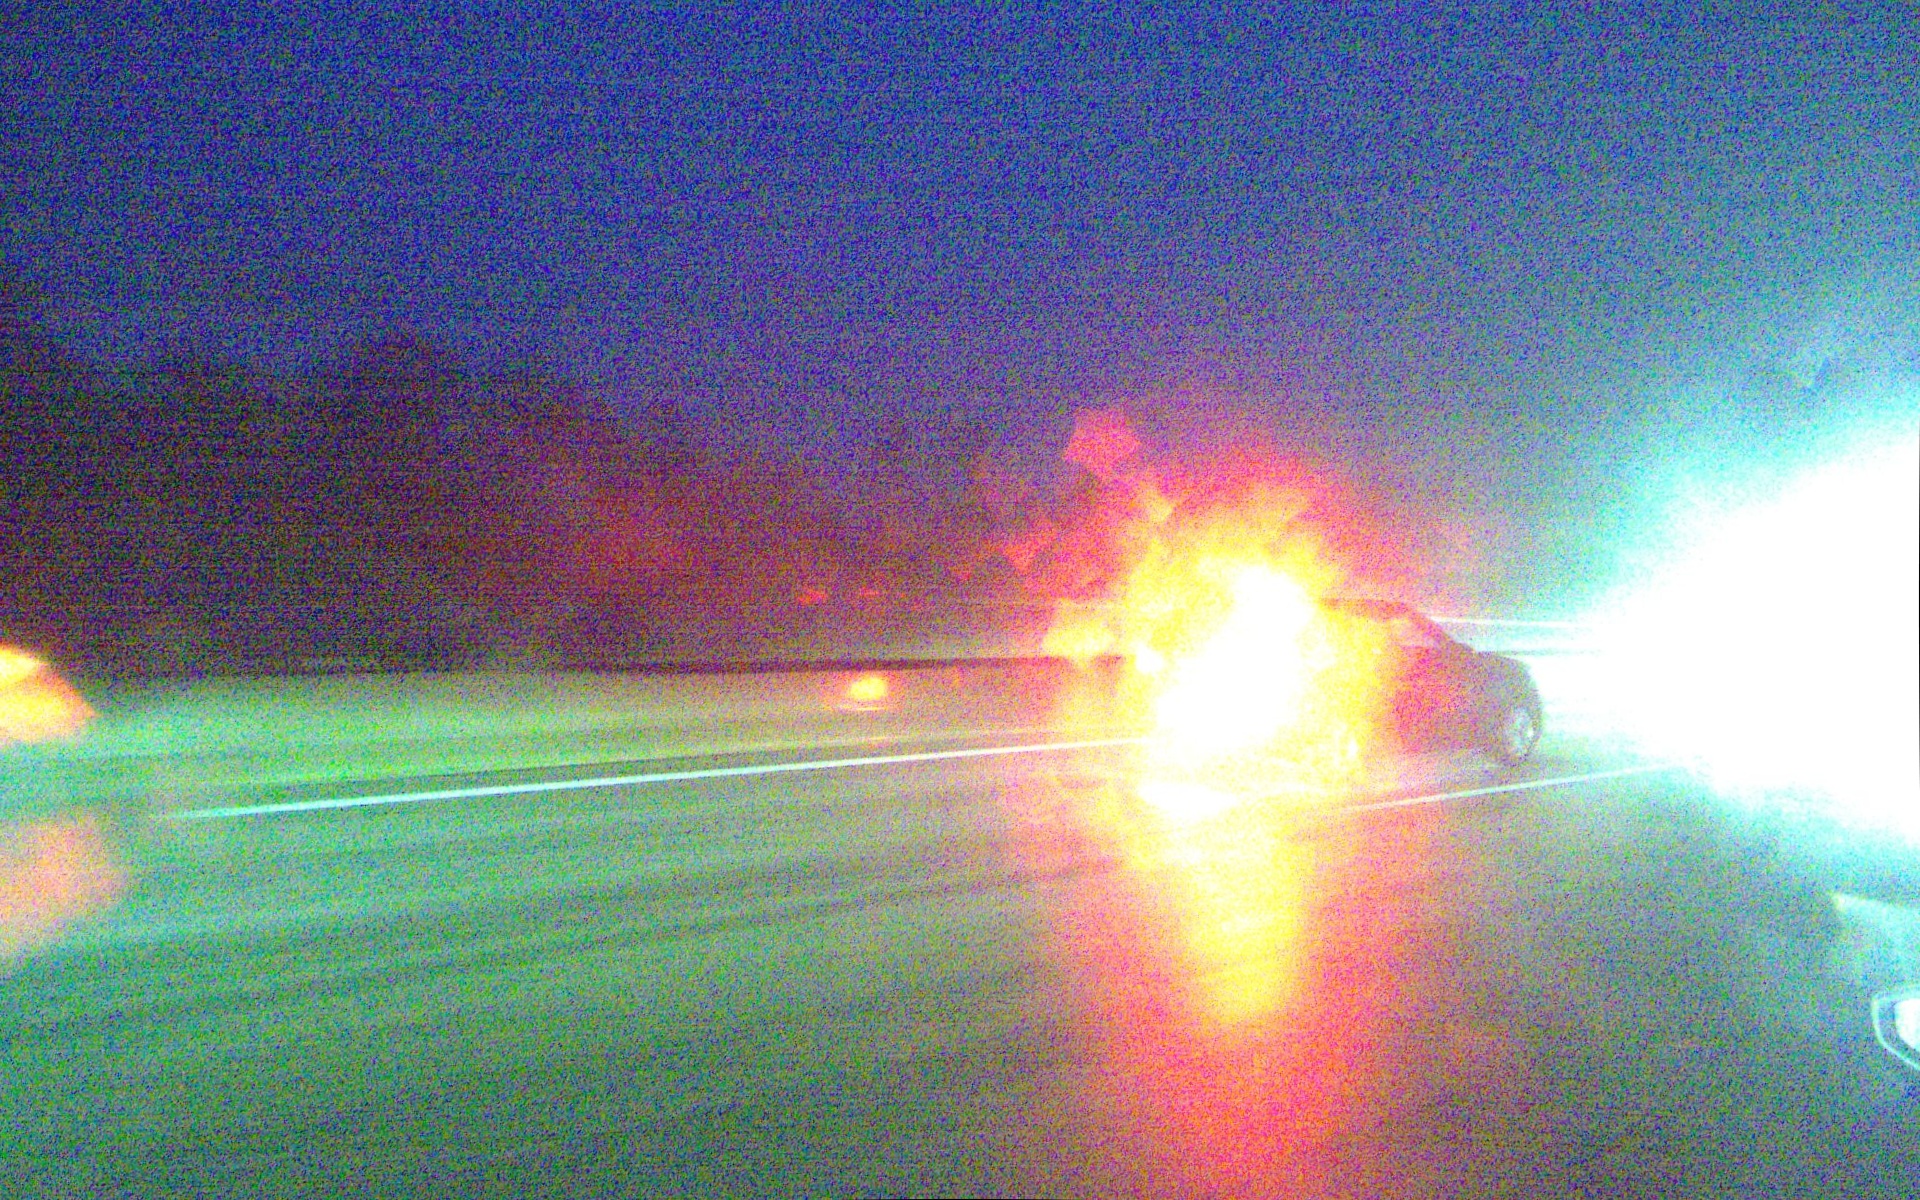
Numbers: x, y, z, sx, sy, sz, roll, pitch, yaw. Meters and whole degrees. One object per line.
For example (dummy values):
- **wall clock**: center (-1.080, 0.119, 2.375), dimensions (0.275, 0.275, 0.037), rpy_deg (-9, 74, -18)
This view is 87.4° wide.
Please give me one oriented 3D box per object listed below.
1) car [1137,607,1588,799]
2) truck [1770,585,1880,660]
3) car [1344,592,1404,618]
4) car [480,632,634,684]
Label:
- **car**: center (4.203, 0.889, 10.240), dimensions (4.697, 1.561, 1.848), rpy_deg (1, -1, -32)
- **truck**: center (51.004, 1.444, 59.164), dimensions (7.269, 4.057, 2.799), rpy_deg (3, -4, -32)
- **car**: center (30.855, 0.396, 74.822), dimensions (4.214, 1.812, 1.780), rpy_deg (1, 1, -26)
- **car**: center (-10.879, 1.600, 27.186), dimensions (3.659, 1.316, 1.607), rpy_deg (3, -4, -30)
